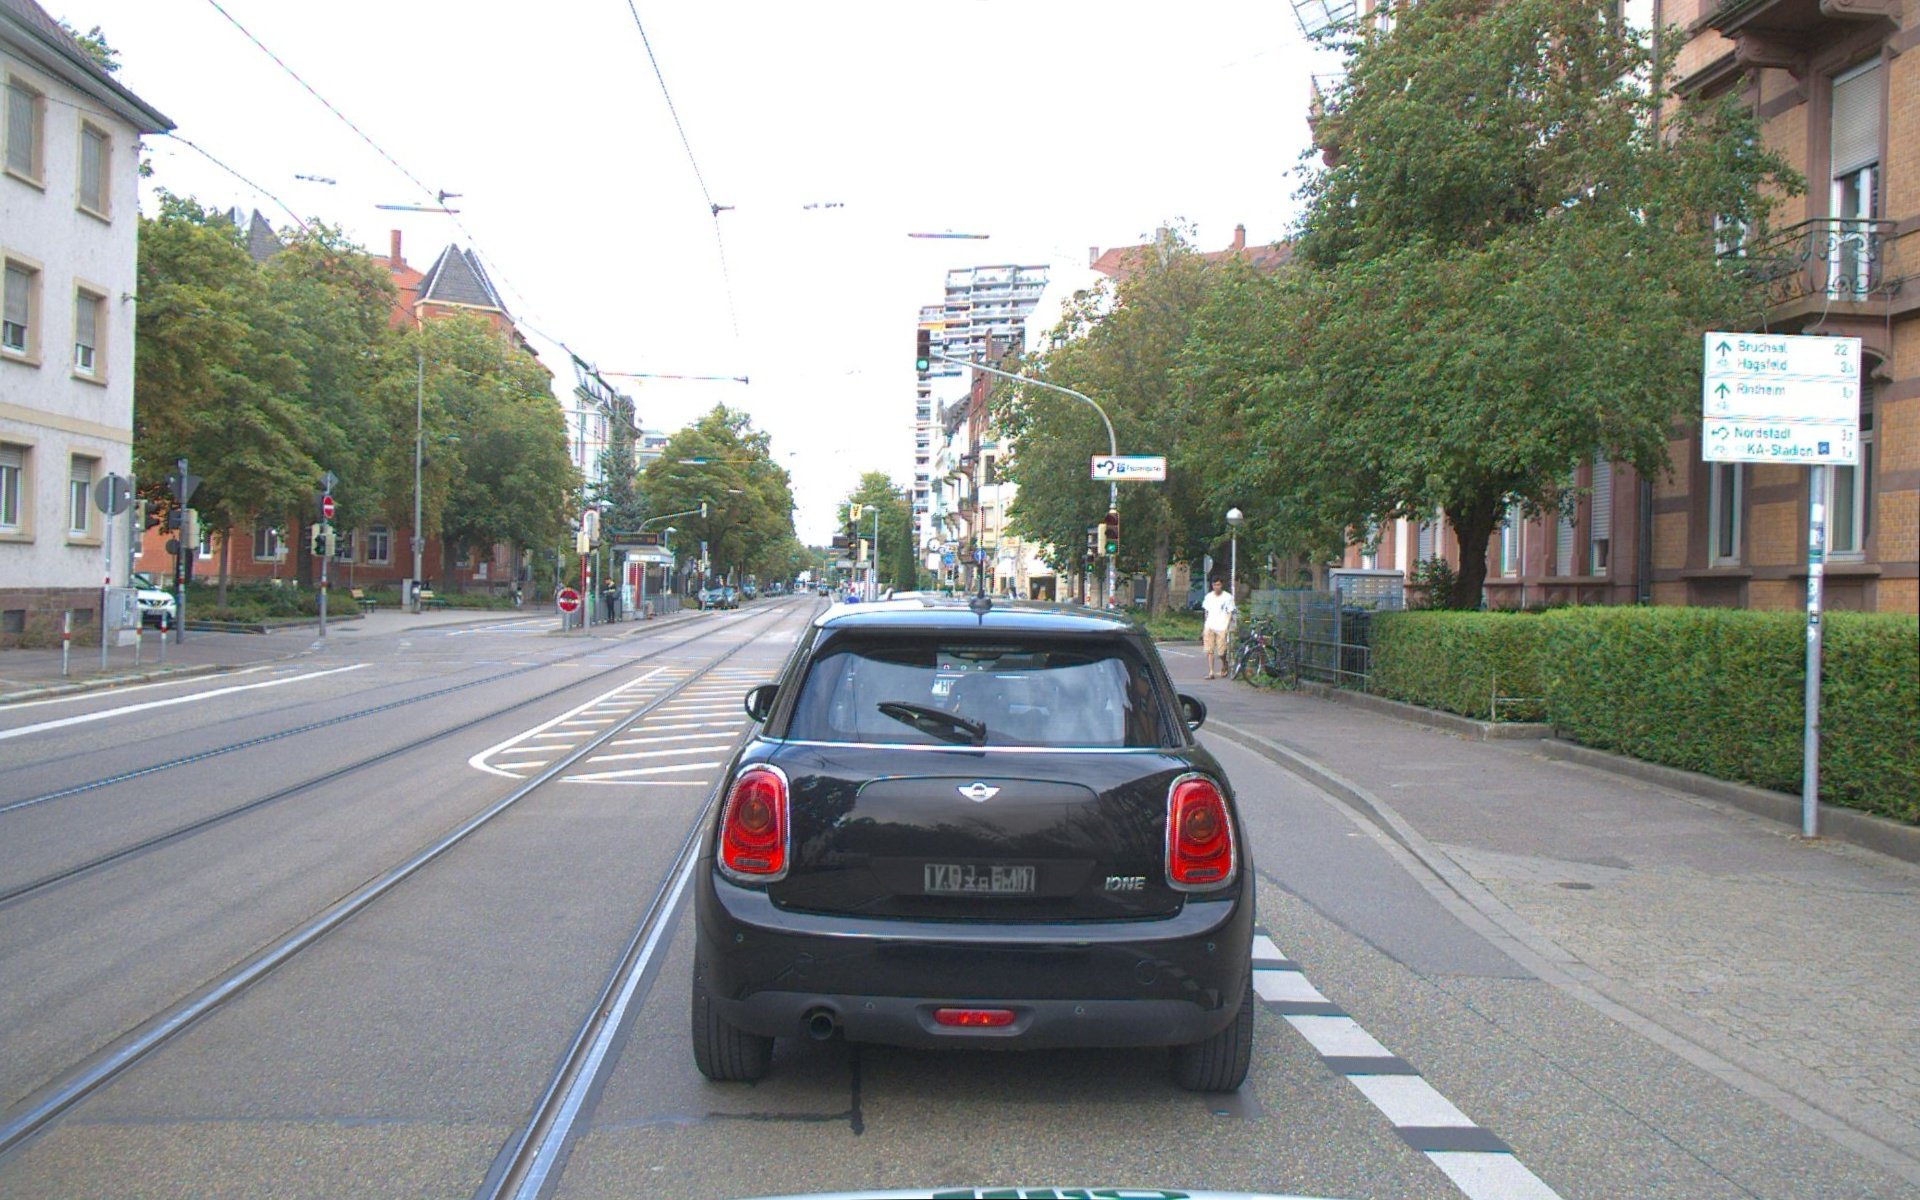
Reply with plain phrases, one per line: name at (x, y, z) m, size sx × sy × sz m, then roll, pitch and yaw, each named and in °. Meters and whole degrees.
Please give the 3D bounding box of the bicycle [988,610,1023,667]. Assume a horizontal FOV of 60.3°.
bicycle at (0.971, 0.818, 35.801) m, size 0.586 × 1.190 × 1.695 m, roll 1°, pitch 0°, yaw -4°

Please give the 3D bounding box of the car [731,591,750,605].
car at (-26.211, -0.284, 197.733) m, size 1.954 × 1.579 × 3.997 m, roll 1°, pitch 0°, yaw -4°

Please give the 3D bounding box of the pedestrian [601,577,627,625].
pedestrian at (-12.215, 0.037, 58.408) m, size 0.836 × 1.649 × 0.841 m, roll 1°, pitch 0°, yaw -10°

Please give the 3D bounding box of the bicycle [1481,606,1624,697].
bicycle at (6.903, 0.595, 19.284) m, size 1.515 × 1.026 × 0.444 m, roll 1°, pitch 0°, yaw -6°

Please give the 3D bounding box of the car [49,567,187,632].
car at (-24.048, 0.023, 47.215) m, size 4.075 × 1.751 × 1.834 m, roll -1°, pitch -3°, yaw 36°

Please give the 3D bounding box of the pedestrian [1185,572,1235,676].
pedestrian at (4.393, 0.420, 29.109) m, size 0.715 × 1.784 × 0.950 m, roll 1°, pitch 0°, yaw 0°

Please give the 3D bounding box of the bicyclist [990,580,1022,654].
bicyclist at (0.988, 0.354, 35.799) m, size 0.583 × 1.577 × 1.013 m, roll 1°, pitch 0°, yaw -4°

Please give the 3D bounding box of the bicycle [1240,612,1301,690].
bicycle at (4.693, 0.750, 25.078) m, size 0.498 × 1.107 × 1.549 m, roll -2°, pitch 0°, yaw -4°

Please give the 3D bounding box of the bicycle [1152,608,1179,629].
bicycle at (11.093, 0.996, 89.291) m, size 0.522 × 1.147 × 1.885 m, roll 1°, pitch 0°, yaw 37°

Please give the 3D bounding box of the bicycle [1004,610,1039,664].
bicycle at (1.422, 0.837, 38.381) m, size 0.670 × 1.190 × 1.696 m, roll 1°, pitch 0°, yaw -2°

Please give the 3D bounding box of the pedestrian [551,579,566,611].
pedestrian at (-22.105, -0.258, 91.085) m, size 0.680 × 1.749 × 0.757 m, roll 1°, pitch 0°, yaw -3°

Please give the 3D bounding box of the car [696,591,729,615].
car at (-16.291, 0.182, 108.973) m, size 1.717 × 1.466 × 3.998 m, roll 3°, pitch 0°, yaw -3°

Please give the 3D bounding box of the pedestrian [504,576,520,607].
pedestrian at (-25.459, -0.484, 93.984) m, size 0.817 × 1.733 × 0.731 m, roll 1°, pitch 0°, yaw -10°

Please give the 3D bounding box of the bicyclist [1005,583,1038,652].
bicyclist at (1.423, 0.401, 38.450) m, size 0.670 × 1.591 × 0.998 m, roll 1°, pitch 0°, yaw -3°

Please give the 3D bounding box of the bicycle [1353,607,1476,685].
bicycle at (6.180, 0.623, 22.512) m, size 1.515 × 1.026 × 0.509 m, roll 1°, pitch 0°, yaw -6°

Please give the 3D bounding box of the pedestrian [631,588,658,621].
pedestrian at (-12.654, 0.178, 66.367) m, size 1.039 × 1.316 × 0.984 m, roll 1°, pitch 0°, yaw -10°

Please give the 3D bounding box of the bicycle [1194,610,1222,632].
bicycle at (13.135, 1.100, 87.480) m, size 0.654 × 1.147 × 1.885 m, roll 1°, pitch 0°, yaw 37°

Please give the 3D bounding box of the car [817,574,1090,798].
car at (-0.061, 0.601, 13.633) m, size 1.887 × 1.536 × 3.999 m, roll 1°, pitch 0°, yaw -1°

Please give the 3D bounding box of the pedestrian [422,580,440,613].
pedestrian at (-28.728, -0.185, 89.779) m, size 0.817 × 1.733 × 0.731 m, roll 1°, pitch 0°, yaw -10°

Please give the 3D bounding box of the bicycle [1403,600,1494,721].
bicycle at (5.537, 0.656, 18.804) m, size 0.505 × 1.304 × 1.549 m, roll 1°, pitch 0°, yaw -2°

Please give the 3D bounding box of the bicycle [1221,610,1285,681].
bicycle at (4.906, 0.751, 27.824) m, size 0.658 × 1.125 × 1.671 m, roll 1°, pitch 0°, yaw -4°

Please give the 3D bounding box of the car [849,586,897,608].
car at (-9.572, -0.286, 181.644) m, size 2.357 × 2.312 × 5.003 m, roll 1°, pitch 0°, yaw 45°

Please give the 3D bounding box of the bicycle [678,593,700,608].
bicycle at (-21.104, 0.019, 128.793) m, size 1.659 × 1.138 × 0.564 m, roll 1°, pitch 0°, yaw -44°

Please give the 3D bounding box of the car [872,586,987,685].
car at (-0.520, 0.529, 27.178) m, size 1.716 × 1.466 × 4.478 m, roll 1°, pitch 0°, yaw -2°

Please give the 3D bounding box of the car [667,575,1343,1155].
car at (0.093, 0.681, 6.263) m, size 1.716 × 1.466 × 3.999 m, roll 1°, pitch 0°, yaw -1°
